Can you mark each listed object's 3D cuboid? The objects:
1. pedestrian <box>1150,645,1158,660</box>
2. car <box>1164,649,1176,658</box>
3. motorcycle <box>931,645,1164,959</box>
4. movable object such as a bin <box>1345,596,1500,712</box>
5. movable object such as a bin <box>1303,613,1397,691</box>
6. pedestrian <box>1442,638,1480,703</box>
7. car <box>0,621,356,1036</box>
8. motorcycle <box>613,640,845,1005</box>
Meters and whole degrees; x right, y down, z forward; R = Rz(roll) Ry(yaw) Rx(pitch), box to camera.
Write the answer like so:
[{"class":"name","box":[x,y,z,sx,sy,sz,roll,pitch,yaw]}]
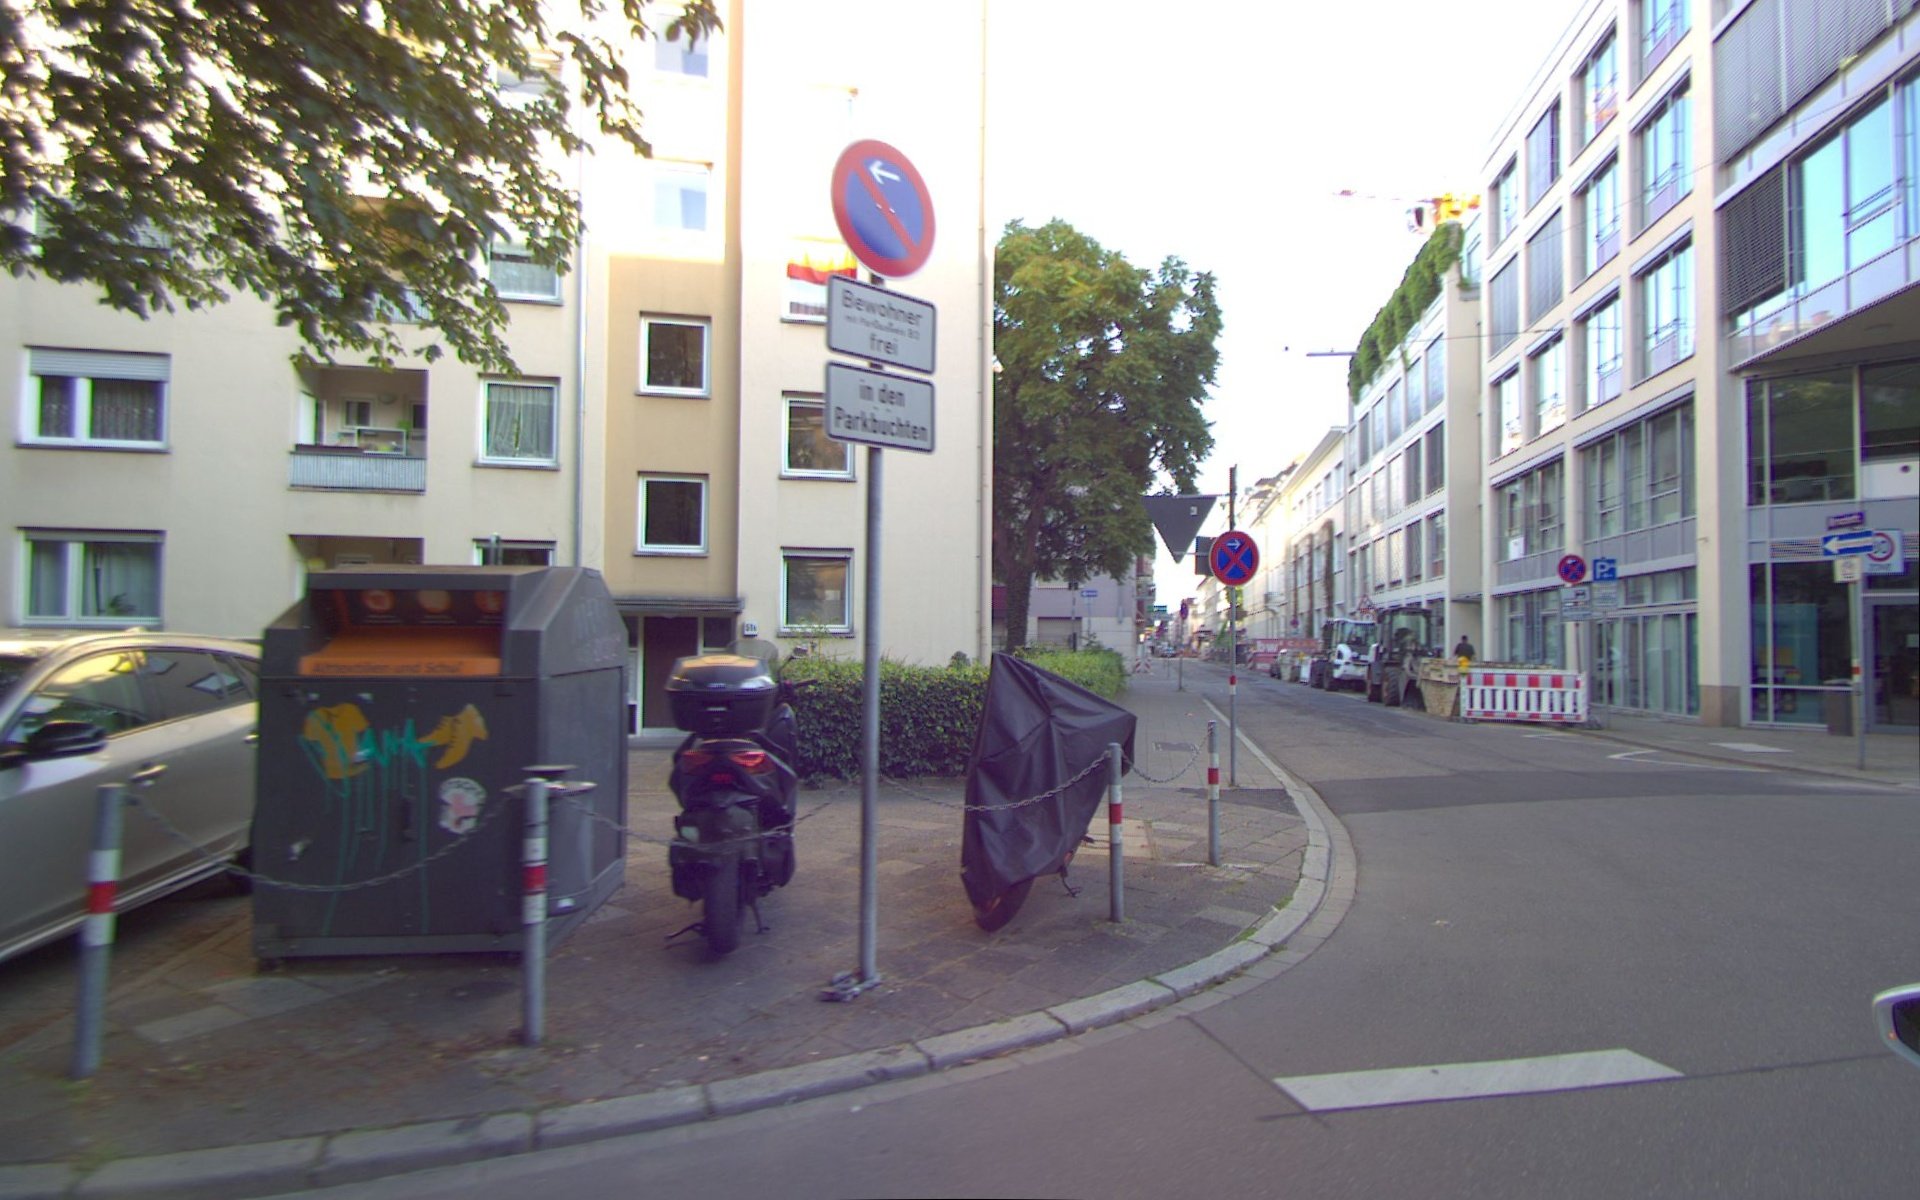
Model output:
[{"class":"pedestrian","box":[22.132,5.979,114.540,0.784,1.683,0.745,1,-3,13]},{"class":"car","box":[29.857,7.615,142.953,1.510,1.149,3.124,0,-2,7]},{"class":"motorcycle","box":[0.622,0.985,5.862,0.835,1.438,2.255,0,-2,19]},{"class":"movable object such as a bin","box":[12.061,1.396,26.692,2.238,2.728,5.653,0,-2,9]},{"class":"movable object such as a bin","box":[13.641,1.805,35.388,2.238,2.573,4.101,0,-2,9]},{"class":"pedestrian","box":[14.870,2.083,29.845,0.872,1.875,0.876,0,-2,17]},{"class":"car","box":[-4.757,0.877,4.369,2.038,1.572,4.627,1,-2,-9]},{"class":"motorcycle","box":[-1.128,0.936,5.279,0.894,1.438,2.457,1,-2,-10]}]
